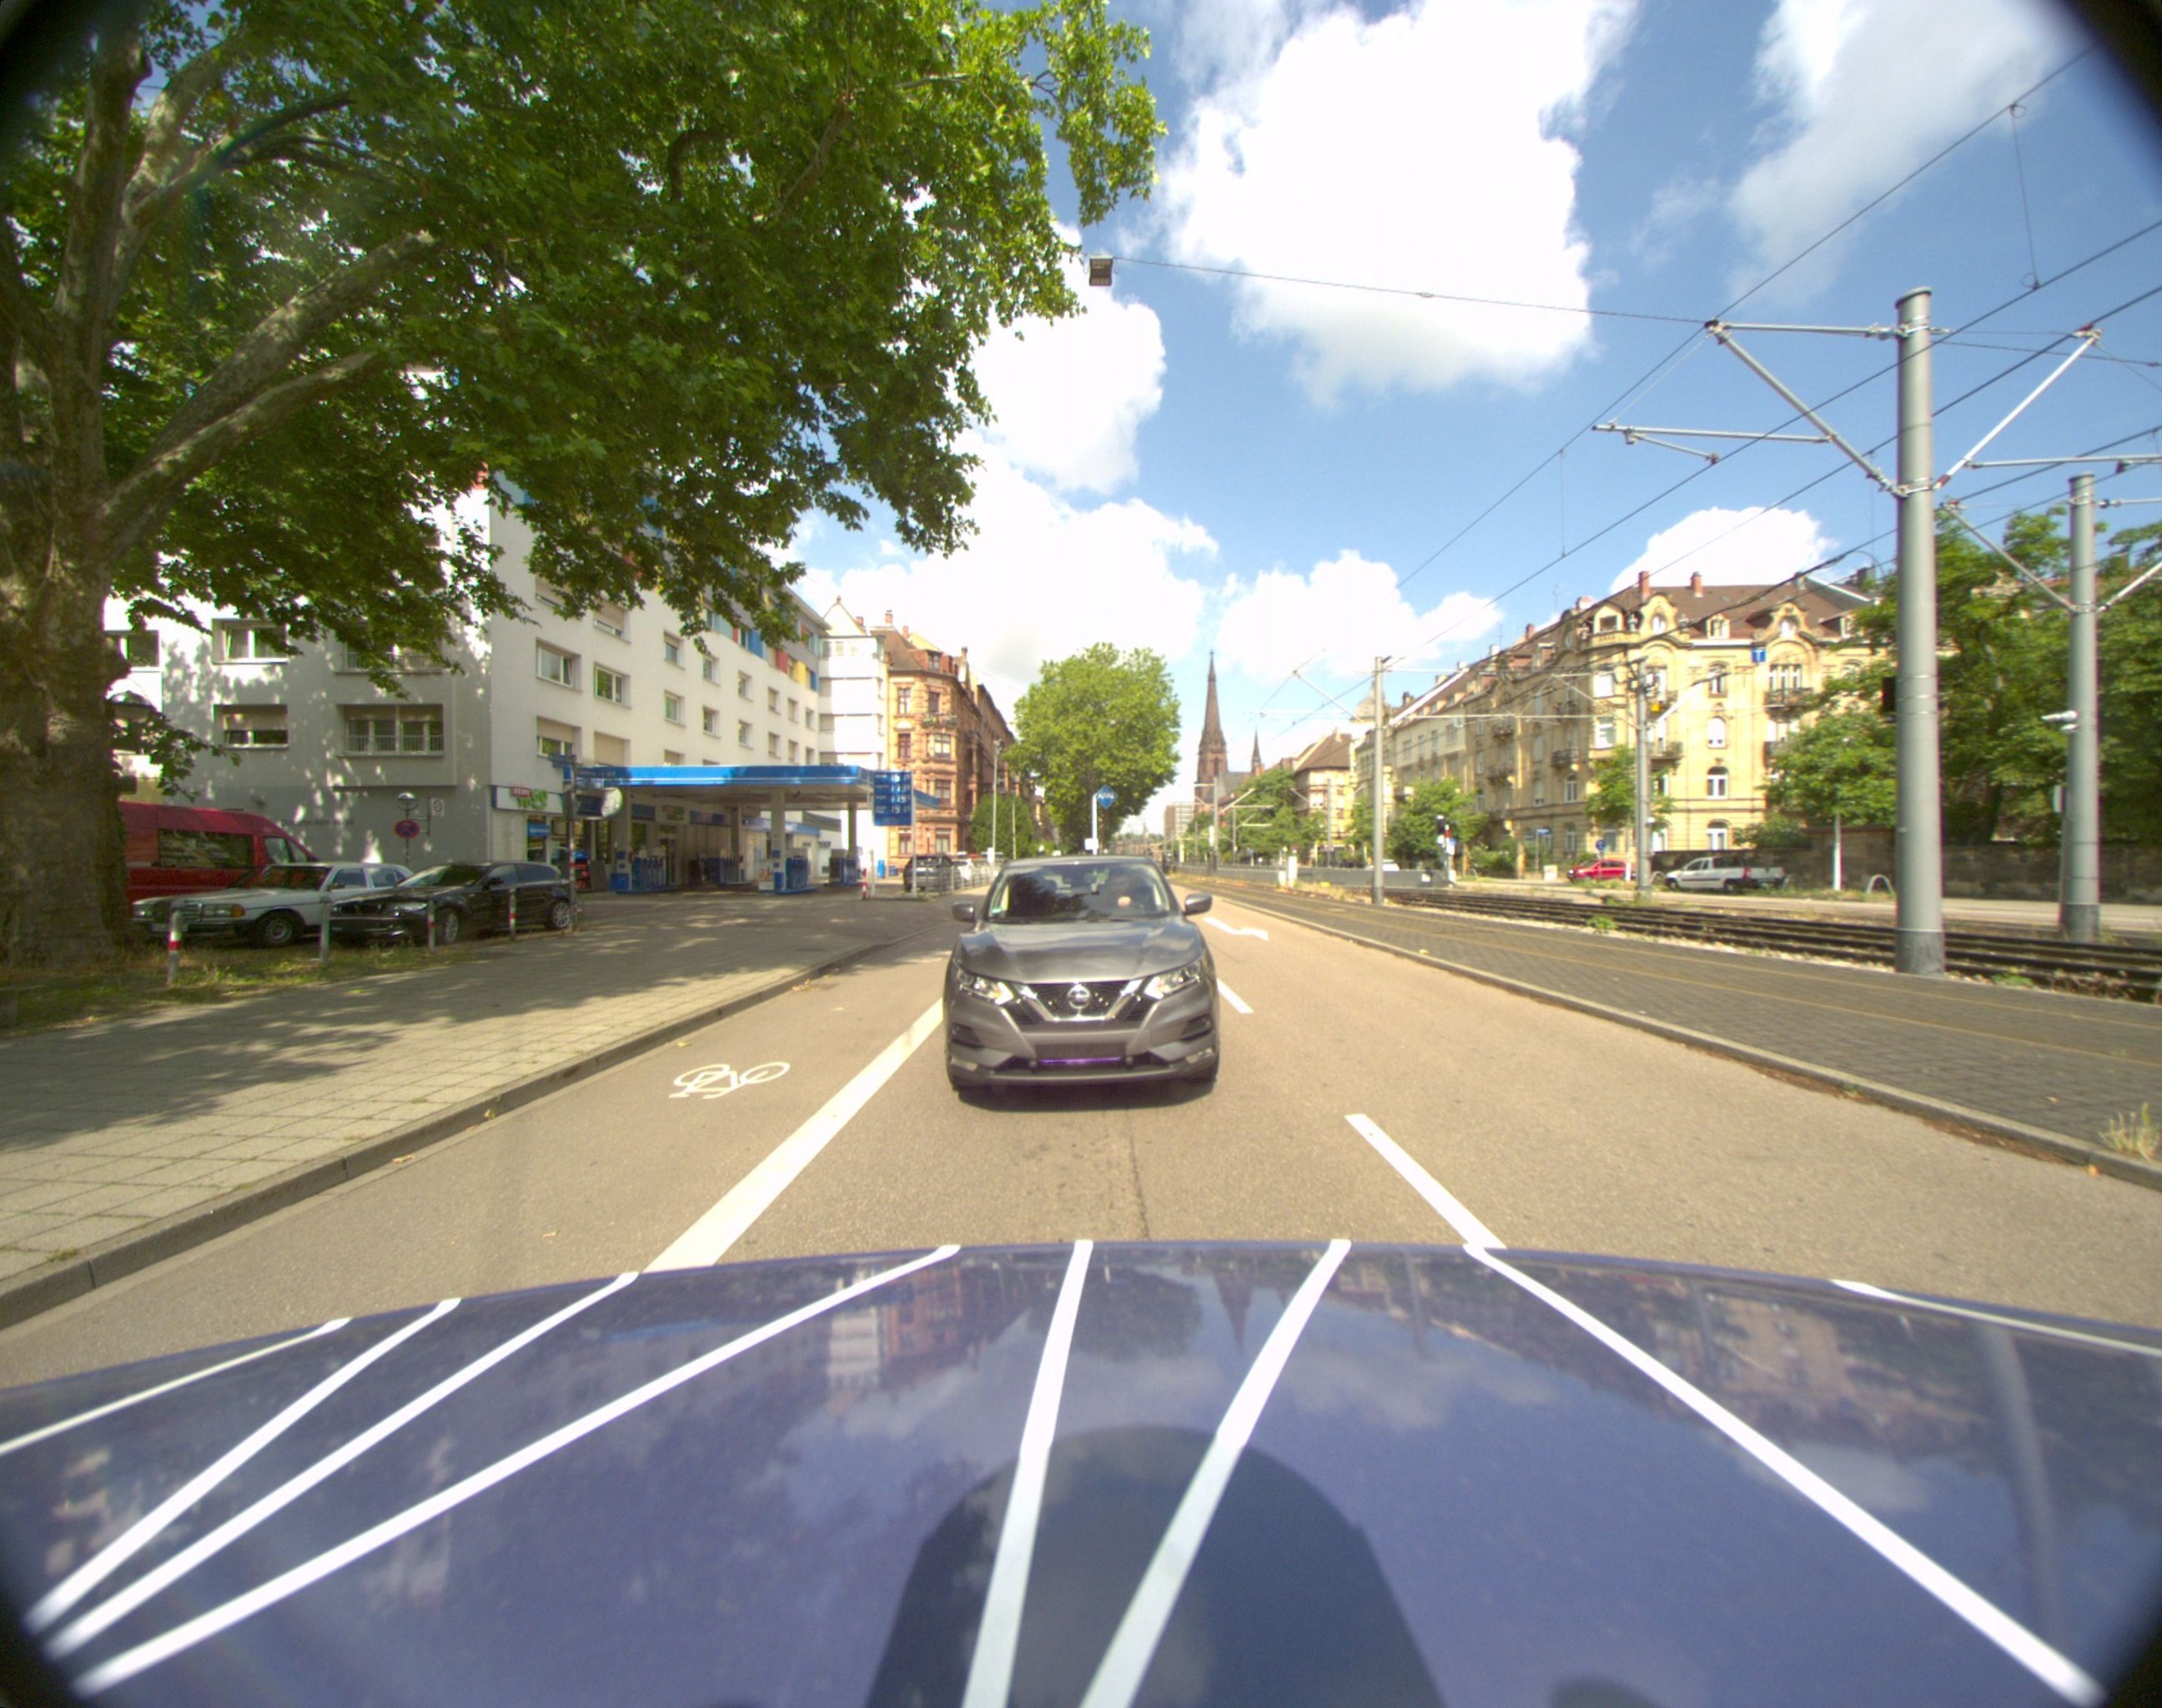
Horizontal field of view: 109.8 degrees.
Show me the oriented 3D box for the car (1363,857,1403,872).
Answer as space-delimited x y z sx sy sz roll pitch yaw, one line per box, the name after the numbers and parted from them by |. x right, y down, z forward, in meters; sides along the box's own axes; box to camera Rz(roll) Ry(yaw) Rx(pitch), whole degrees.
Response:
27.151 0.950 68.466 1.756 1.320 4.312 0 0 -1 | car

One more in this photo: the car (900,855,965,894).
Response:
-6.486 0.852 33.638 1.810 1.593 4.583 -1 0 2 | car

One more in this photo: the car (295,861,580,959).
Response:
-11.127 0.877 13.586 1.653 1.461 4.043 0 0 0 | car

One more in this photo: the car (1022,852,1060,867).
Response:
-5.148 0.671 98.318 4.735 1.772 2.004 -2 0 -7 | car

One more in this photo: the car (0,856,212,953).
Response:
-19.252 0.875 13.550 2.011 1.641 4.653 -2 0 2 | car

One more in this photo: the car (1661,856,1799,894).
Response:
26.902 0.827 31.721 1.936 1.495 4.413 0 0 -1 | car

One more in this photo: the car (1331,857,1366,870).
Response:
27.153 0.931 77.319 2.025 1.319 4.100 0 0 -2 | car

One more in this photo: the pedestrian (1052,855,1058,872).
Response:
-2.715 0.949 78.922 0.565 1.775 0.630 0 0 0 | pedestrian

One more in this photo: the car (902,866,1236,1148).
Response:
-0.026 0.864 6.382 1.800 1.454 4.567 0 0 1 | car

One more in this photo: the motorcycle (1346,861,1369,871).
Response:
27.109 1.134 74.473 1.765 0.936 1.418 1 0 -1 | motorcycle

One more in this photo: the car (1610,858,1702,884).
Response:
33.118 0.978 43.831 3.972 1.455 1.723 0 0 1 | car

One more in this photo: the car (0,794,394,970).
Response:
-16.712 0.426 14.177 2.116 2.567 6.020 0 0 2 | car

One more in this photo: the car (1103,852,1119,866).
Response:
3.165 0.529 81.658 1.557 1.476 3.859 2 0 0 | car

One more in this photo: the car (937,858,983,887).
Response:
-6.407 0.959 40.635 1.810 1.447 4.001 -1 0 0 | car

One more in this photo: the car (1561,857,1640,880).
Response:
33.811 0.926 49.552 3.788 1.455 1.933 0 0 4 | car

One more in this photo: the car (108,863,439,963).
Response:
-13.829 0.904 13.435 1.653 1.461 4.042 0 0 -3 | car
